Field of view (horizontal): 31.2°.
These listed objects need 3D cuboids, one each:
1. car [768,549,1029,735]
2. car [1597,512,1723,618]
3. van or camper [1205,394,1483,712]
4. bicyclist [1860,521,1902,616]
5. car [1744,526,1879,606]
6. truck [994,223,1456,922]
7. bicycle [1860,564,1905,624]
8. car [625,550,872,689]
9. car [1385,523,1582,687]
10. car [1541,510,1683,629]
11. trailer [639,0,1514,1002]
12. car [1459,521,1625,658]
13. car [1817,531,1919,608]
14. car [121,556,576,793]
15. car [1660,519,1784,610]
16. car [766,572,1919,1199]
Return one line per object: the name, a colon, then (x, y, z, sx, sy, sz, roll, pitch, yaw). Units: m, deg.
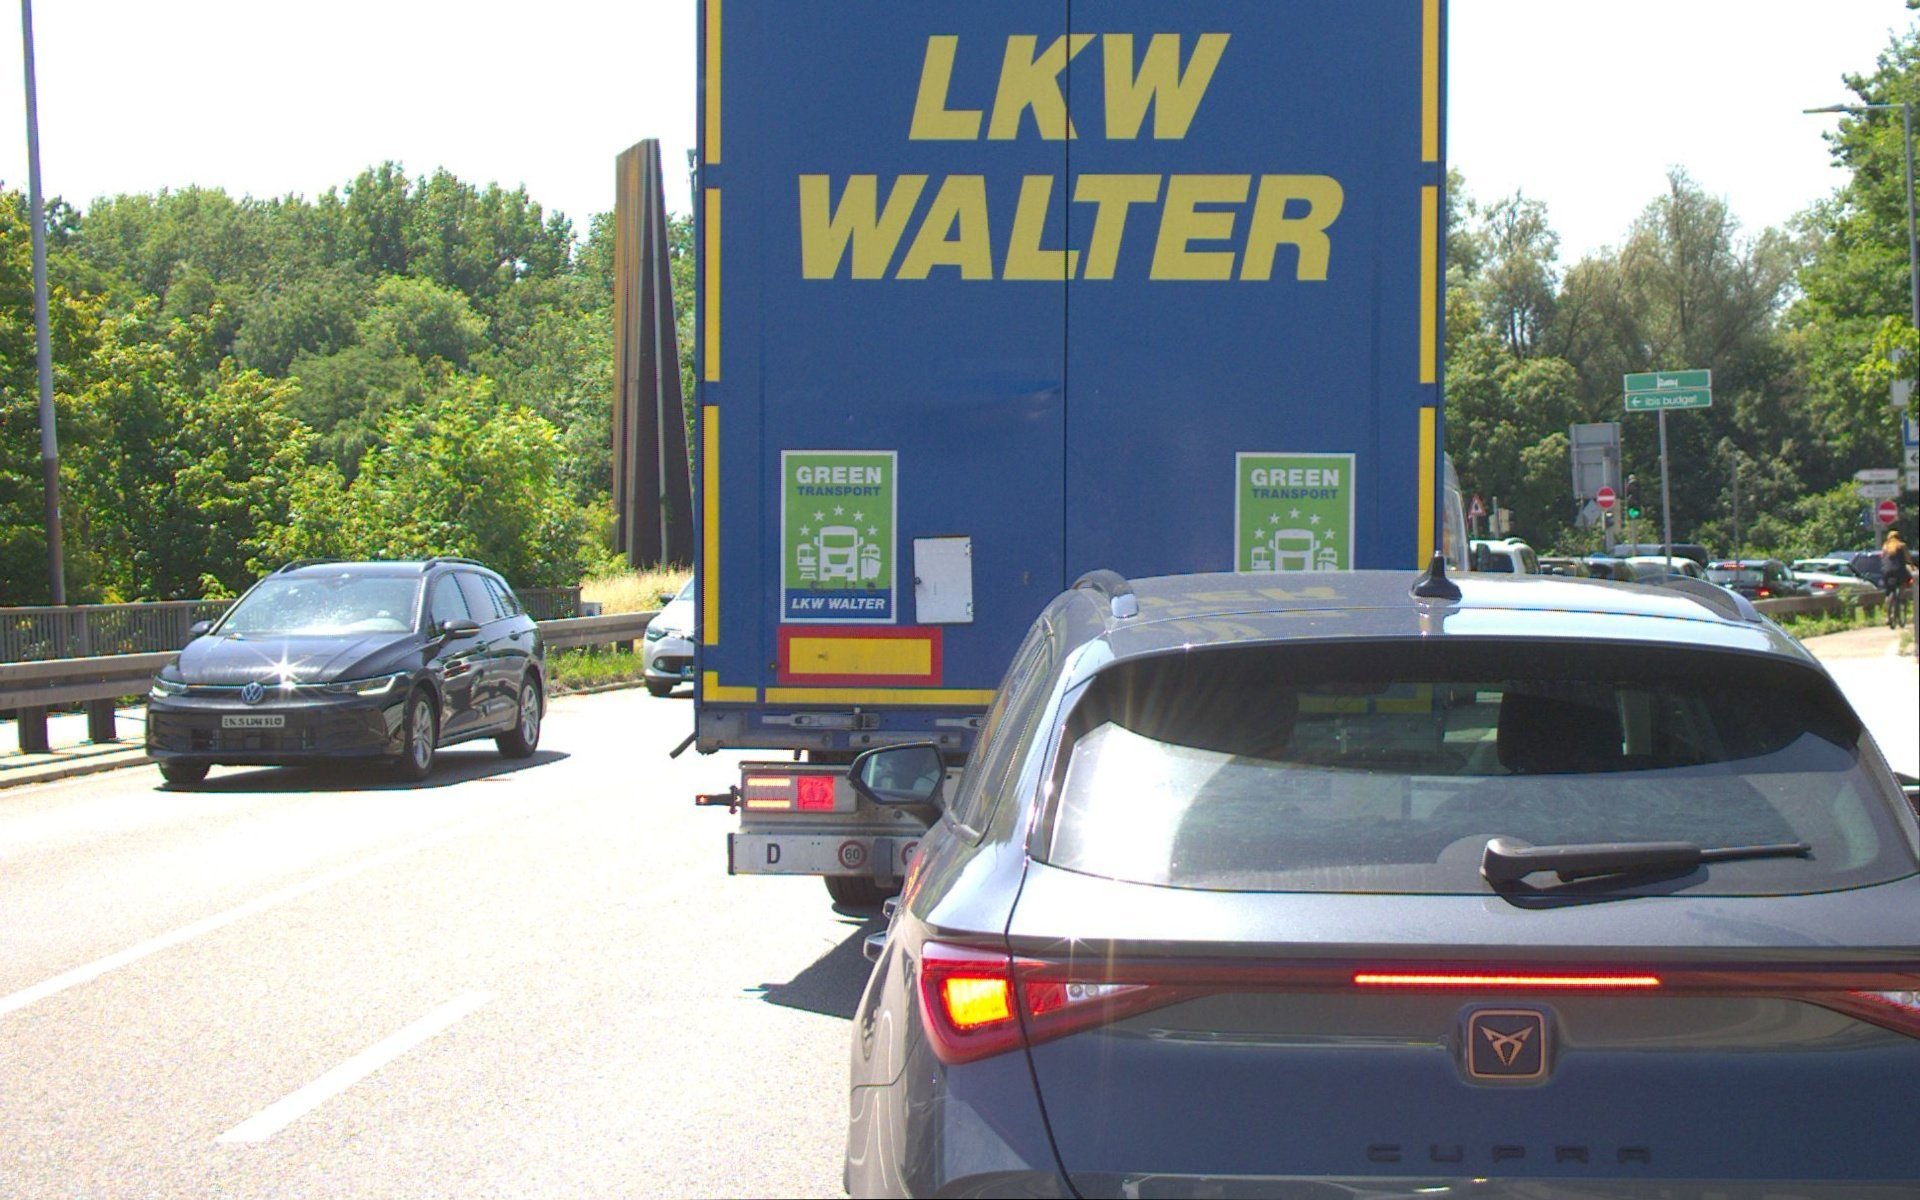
car: (-0.450, 0.308, 29.258, 1.677, 1.406, 3.974, -2, 1, 6)
car: (12.554, -0.654, 61.535, 1.722, 1.837, 3.996, 0, 1, 19)
van or camper: (3.876, -0.480, 33.650, 2.155, 2.806, 6.384, 0, 1, 11)
bicyclist: (16.612, -0.572, 61.998, 0.578, 1.677, 0.729, -3, 0, 9)
car: (18.466, -0.731, 74.444, 1.996, 1.570, 3.994, 2, 0, 26)
truck: (2.086, -0.241, 25.086, 2.905, 4.403, 6.554, 0, 1, 7)
bicycle: (16.638, -0.111, 62.013, 0.582, 1.032, 1.484, -3, 0, 9)
car: (-2.256, 0.172, 37.725, 1.600, 1.444, 4.053, 0, 1, 13)
car: (6.290, 0.013, 41.032, 1.722, 1.837, 3.997, 0, 2, 18)
car: (10.562, -0.519, 55.523, 1.722, 1.837, 3.996, 0, 1, 19)
trailer: (1.141, -1.008, 17.595, 2.905, 4.403, 12.430, 0, 1, 7)
car: (8.055, -0.182, 47.348, 1.722, 1.796, 3.997, 0, 1, 18)
car: (21.385, -0.697, 80.392, 1.688, 1.754, 3.994, 0, 0, 28)
car: (-4.110, 0.441, 23.879, 1.711, 1.464, 4.458, 0, 1, 9)
car: (15.139, -0.687, 68.186, 1.687, 1.754, 3.995, 0, 0, 23)
car: (0.675, 0.692, 5.969, 1.677, 1.451, 3.958, 0, 1, 2)
